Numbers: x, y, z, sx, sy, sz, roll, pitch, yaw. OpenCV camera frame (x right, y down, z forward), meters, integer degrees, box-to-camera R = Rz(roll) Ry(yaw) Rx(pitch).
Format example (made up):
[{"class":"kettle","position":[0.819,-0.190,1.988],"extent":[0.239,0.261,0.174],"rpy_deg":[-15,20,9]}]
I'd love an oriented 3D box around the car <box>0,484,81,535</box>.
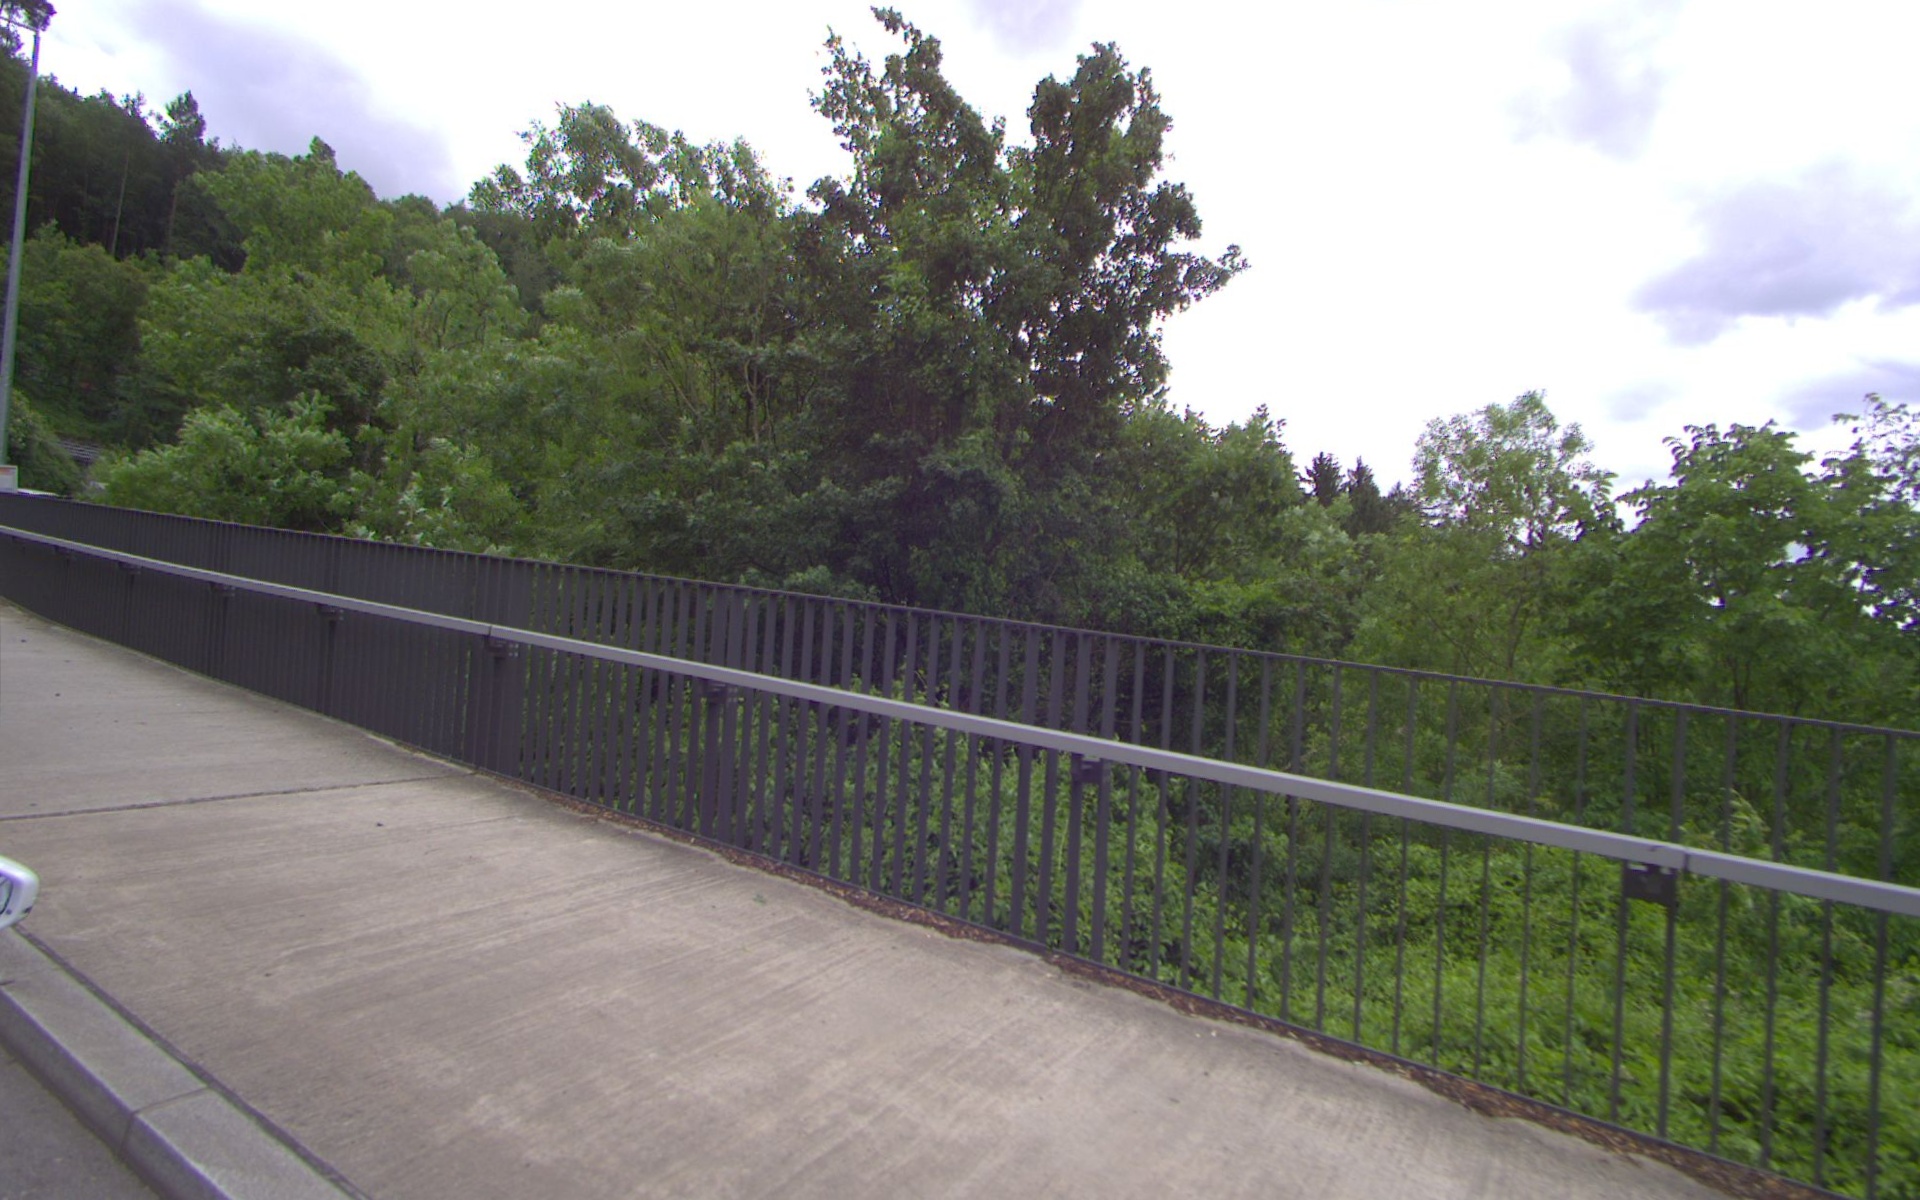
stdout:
[{"class":"car","position":[-37.745,-3.694,40.515],"extent":[1.721,1.535,4.297],"rpy_deg":[9,-3,-16]}]
